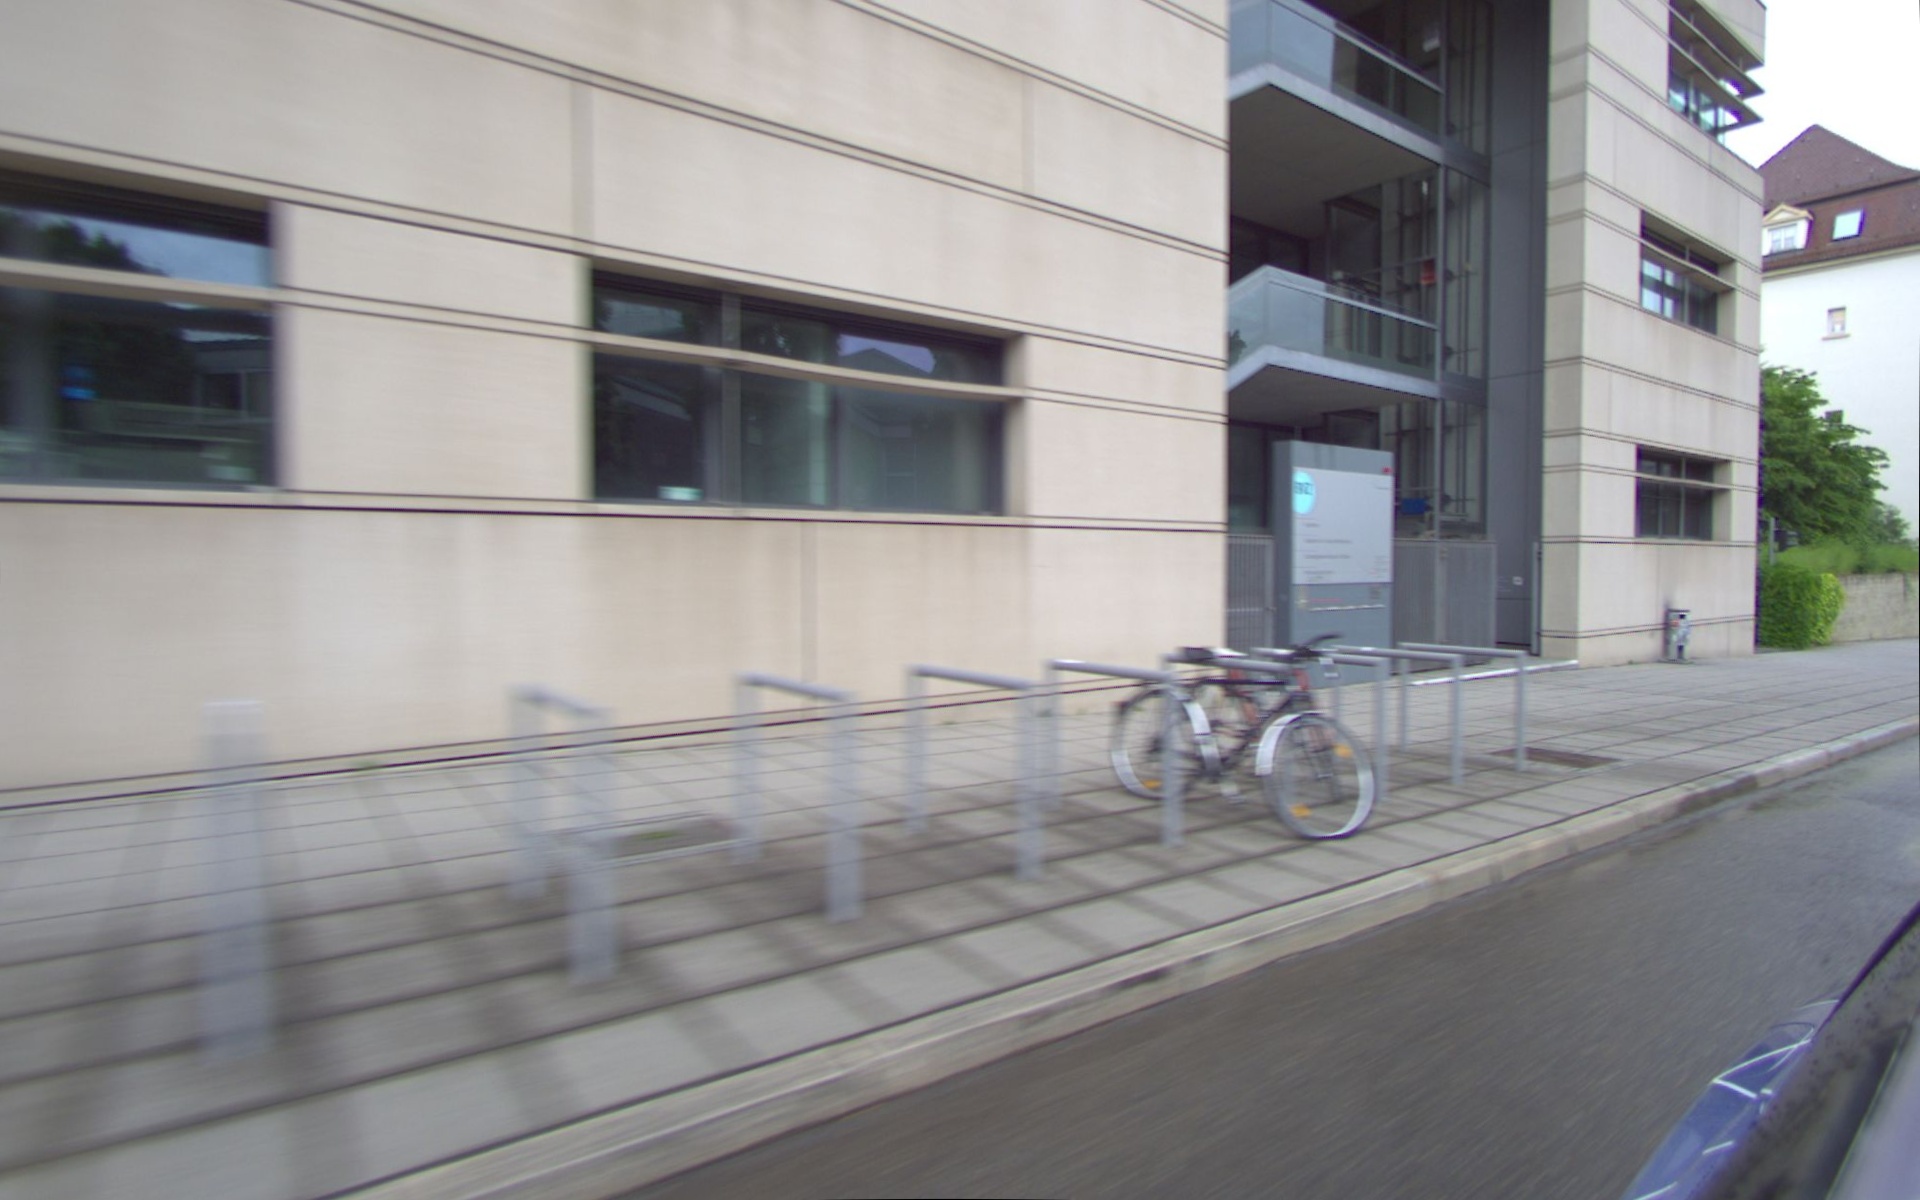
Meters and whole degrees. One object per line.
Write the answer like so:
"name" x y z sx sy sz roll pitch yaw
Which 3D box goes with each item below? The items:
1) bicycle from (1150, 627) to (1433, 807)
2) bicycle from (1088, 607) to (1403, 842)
"bicycle" 2.194 0.722 6.905 0.648 0.965 1.763 -1 2 -39
"bicycle" 1.635 0.644 6.037 0.648 1.133 1.732 -1 2 -41
